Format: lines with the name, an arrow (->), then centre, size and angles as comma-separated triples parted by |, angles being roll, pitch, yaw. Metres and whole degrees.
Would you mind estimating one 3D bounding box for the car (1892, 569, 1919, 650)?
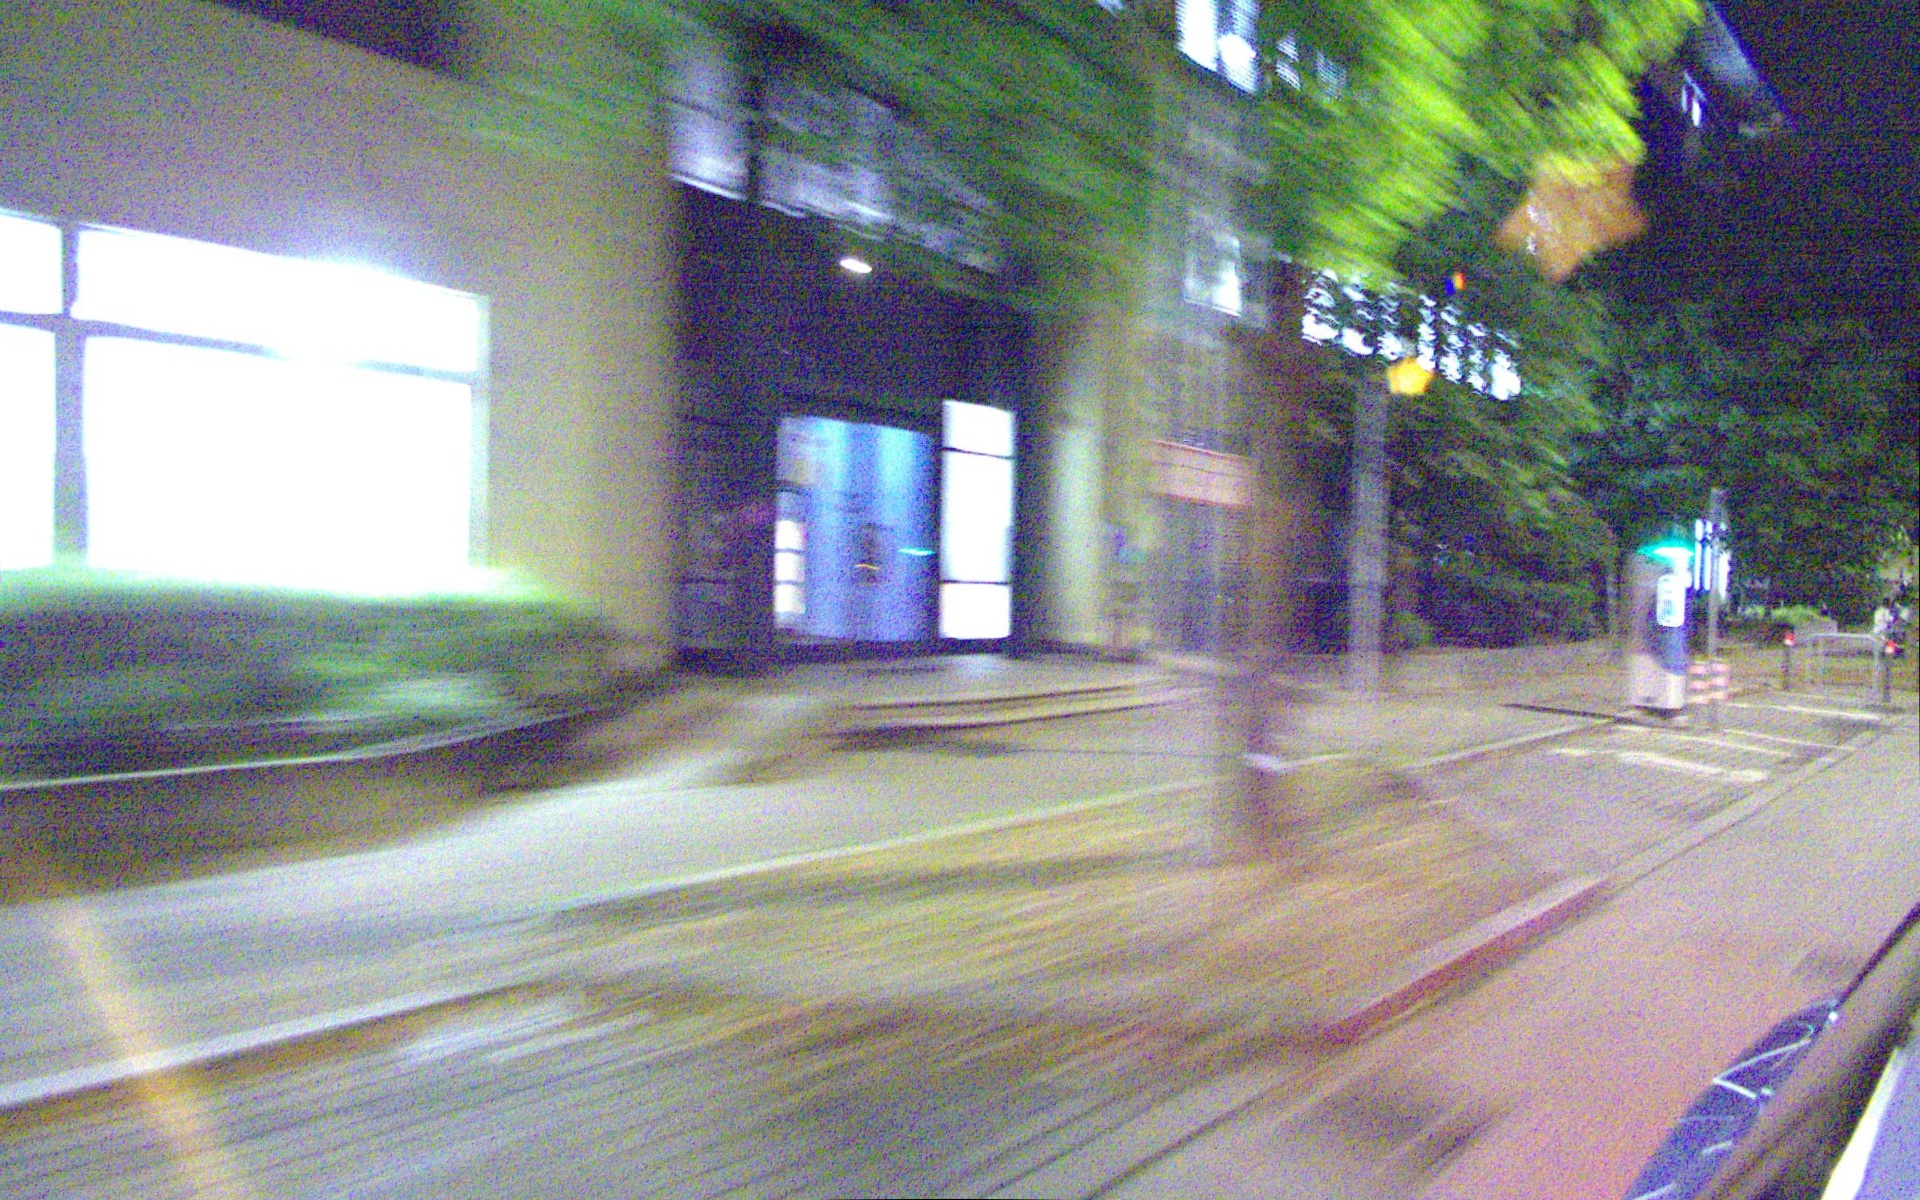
car -> 25.480, 0.244, 25.915 | 4.525, 1.988, 1.954 | 0, 2, -42
